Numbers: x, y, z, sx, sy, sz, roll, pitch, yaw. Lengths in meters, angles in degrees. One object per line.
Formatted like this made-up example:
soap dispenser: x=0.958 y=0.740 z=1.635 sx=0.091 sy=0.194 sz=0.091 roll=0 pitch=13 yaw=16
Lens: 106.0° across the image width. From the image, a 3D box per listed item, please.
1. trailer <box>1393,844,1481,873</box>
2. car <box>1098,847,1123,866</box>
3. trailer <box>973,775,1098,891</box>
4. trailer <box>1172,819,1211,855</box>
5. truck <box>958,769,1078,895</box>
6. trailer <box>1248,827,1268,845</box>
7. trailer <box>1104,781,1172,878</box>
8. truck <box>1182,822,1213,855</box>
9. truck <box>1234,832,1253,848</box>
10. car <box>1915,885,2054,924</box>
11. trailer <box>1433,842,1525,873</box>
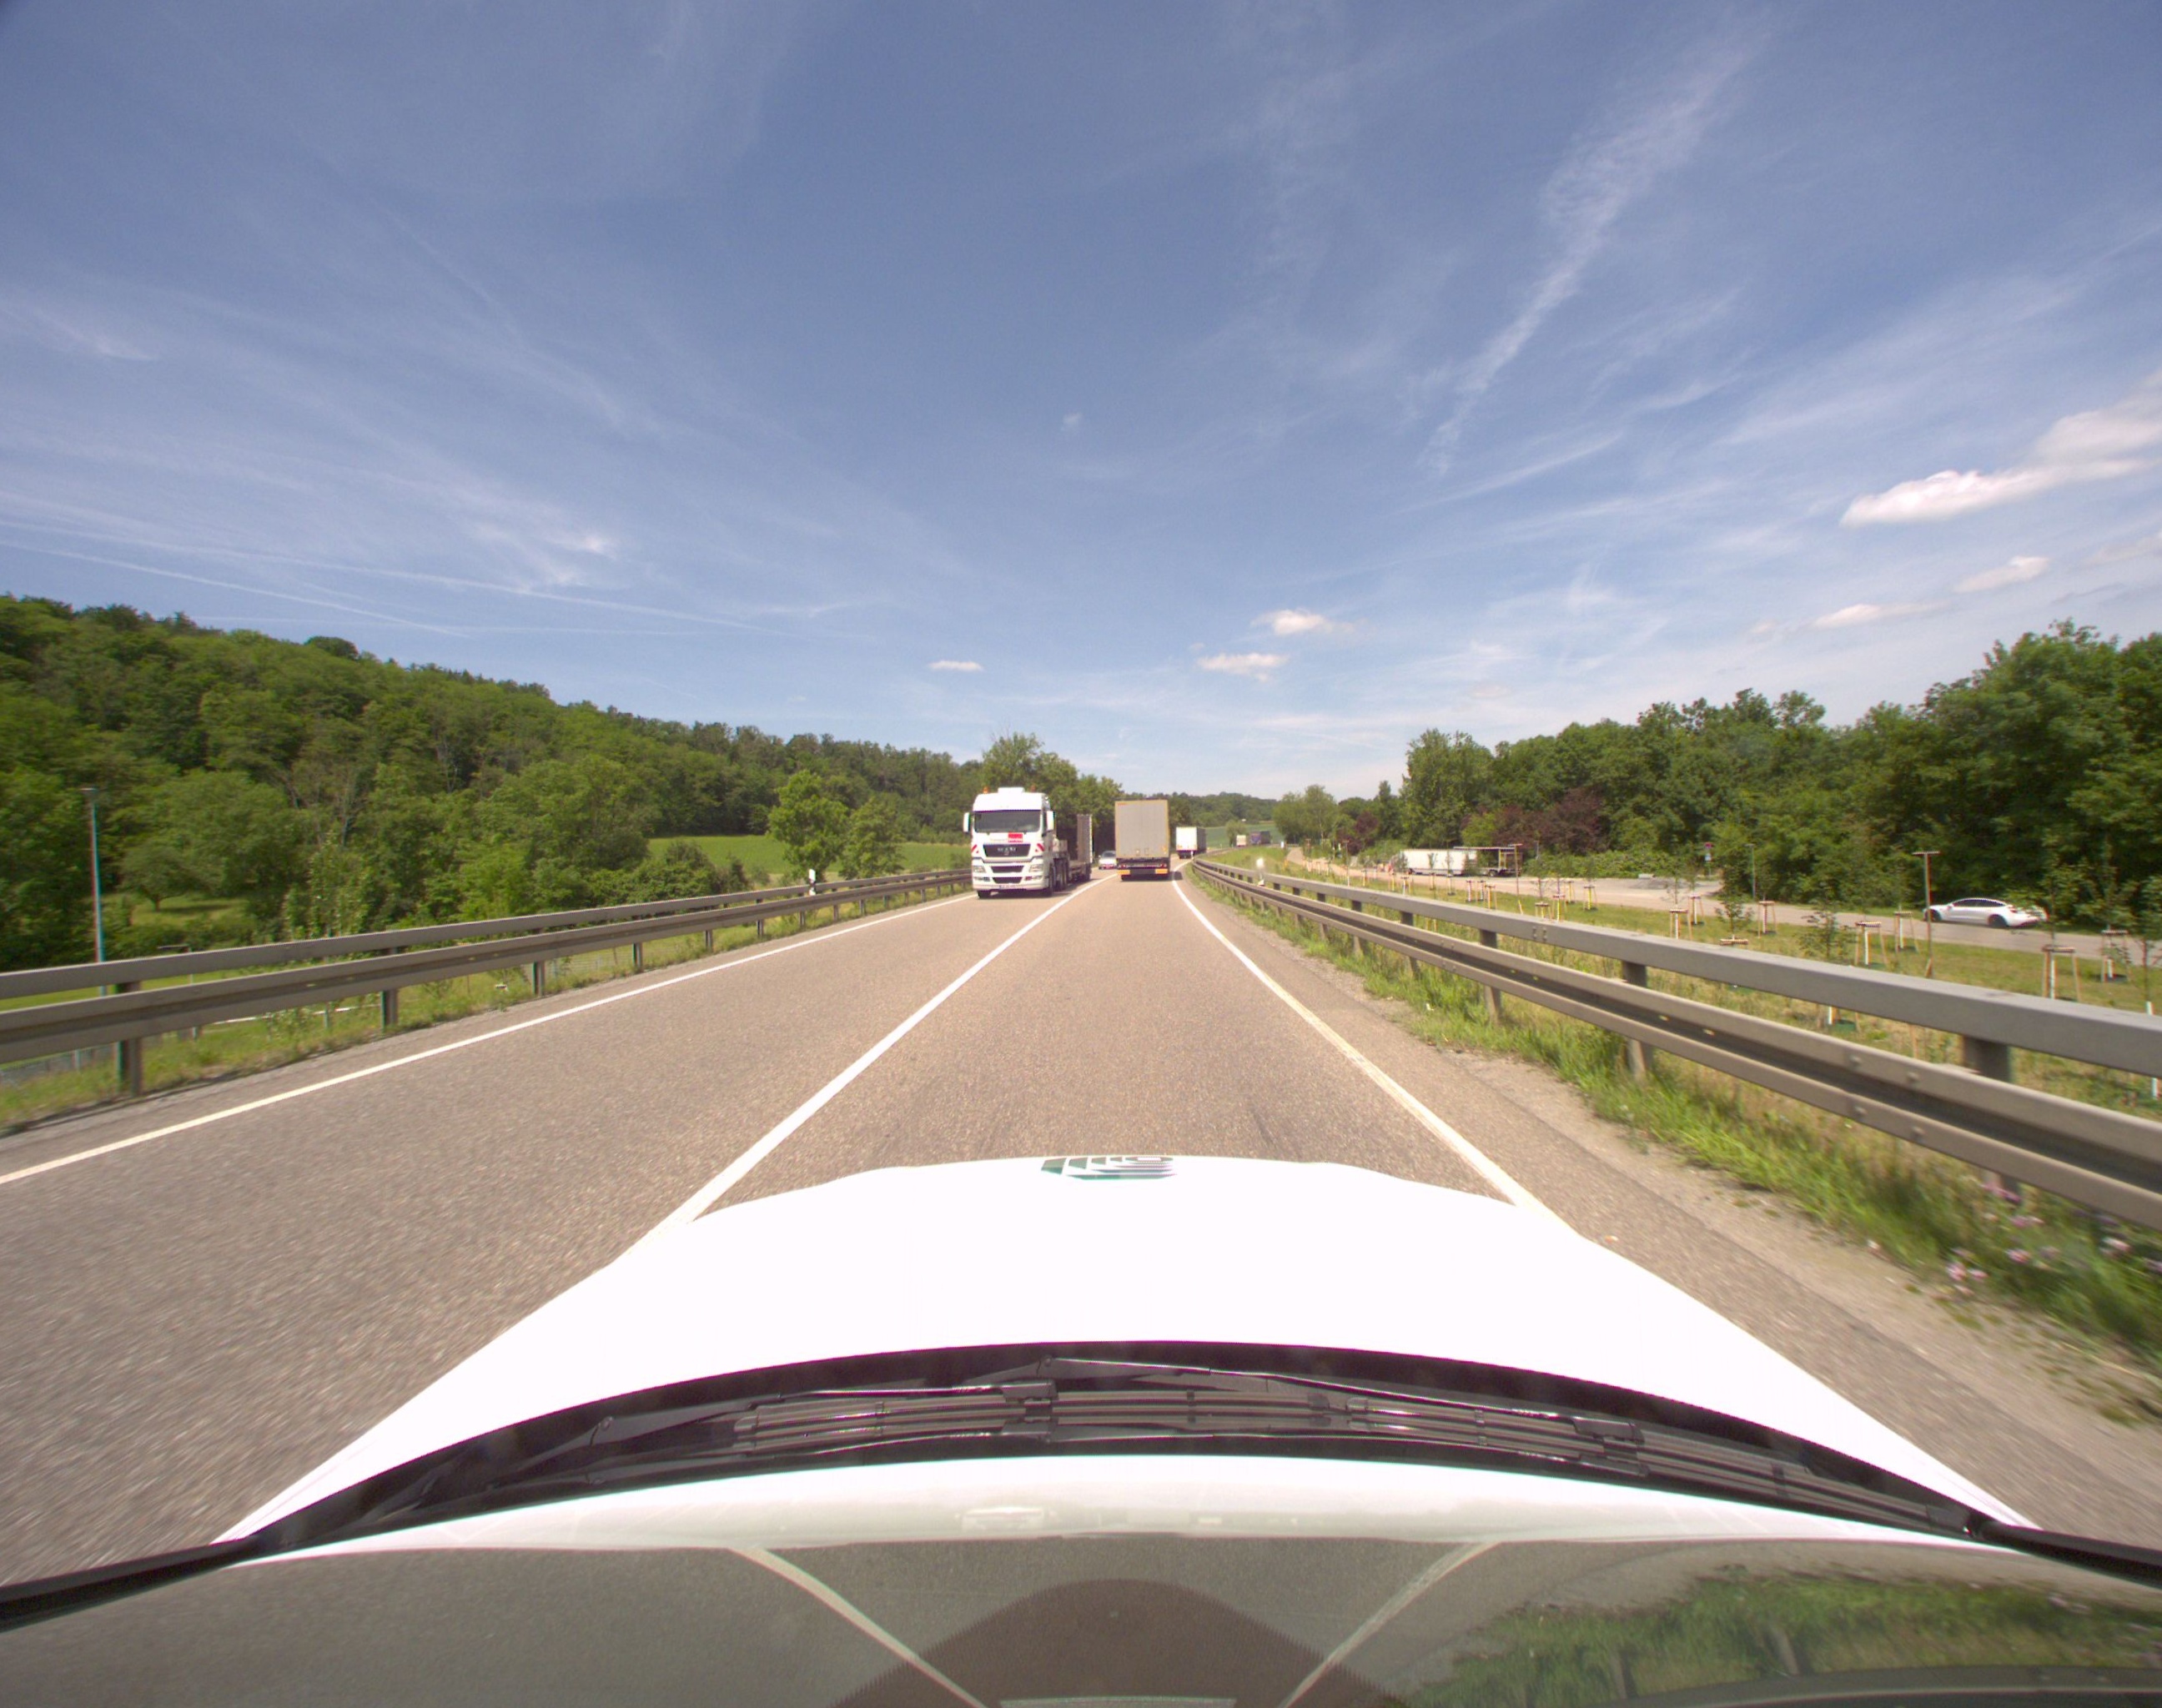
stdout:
trailer: x=44.740 y=0.470 z=102.956 sx=2.728 sy=3.327 sz=11.813 roll=-2 pitch=1 yaw=-20
car: x=2.437 y=0.163 z=66.199 sx=1.759 sy=1.494 sz=4.176 roll=-1 pitch=0 yaw=5
trailer: x=-1.437 y=-0.818 z=36.093 sx=3.103 sy=3.979 sz=15.381 roll=-2 pitch=1 yaw=5
trailer: x=14.524 y=-2.068 z=105.965 sx=3.341 sy=4.317 sz=13.916 roll=-1 pitch=0 yaw=14
truck: x=-2.052 y=-0.735 z=29.548 sx=3.103 sy=3.957 sz=6.632 roll=-2 pitch=1 yaw=5
trailer: x=45.137 y=-4.515 z=207.873 sx=3.618 sy=4.262 sz=12.252 roll=-1 pitch=0 yaw=18
trailer: x=3.394 y=-1.244 z=45.229 sx=3.103 sy=4.499 sz=13.909 roll=-1 pitch=1 yaw=6
truck: x=16.183 y=-2.115 z=112.498 sx=3.340 sy=4.317 sz=6.767 roll=-1 pitch=0 yaw=15
truck: x=37.126 y=-3.099 z=185.883 sx=3.198 sy=3.365 sz=11.925 roll=-1 pitch=0 yaw=16
car: x=45.774 y=2.519 z=41.448 sx=1.852 sy=1.482 sz=4.606 roll=-5 pitch=1 yaw=-1
trailer: x=48.813 y=0.331 z=100.543 sx=2.726 sy=3.606 sz=11.821 roll=-1 pitch=1 yaw=-18
